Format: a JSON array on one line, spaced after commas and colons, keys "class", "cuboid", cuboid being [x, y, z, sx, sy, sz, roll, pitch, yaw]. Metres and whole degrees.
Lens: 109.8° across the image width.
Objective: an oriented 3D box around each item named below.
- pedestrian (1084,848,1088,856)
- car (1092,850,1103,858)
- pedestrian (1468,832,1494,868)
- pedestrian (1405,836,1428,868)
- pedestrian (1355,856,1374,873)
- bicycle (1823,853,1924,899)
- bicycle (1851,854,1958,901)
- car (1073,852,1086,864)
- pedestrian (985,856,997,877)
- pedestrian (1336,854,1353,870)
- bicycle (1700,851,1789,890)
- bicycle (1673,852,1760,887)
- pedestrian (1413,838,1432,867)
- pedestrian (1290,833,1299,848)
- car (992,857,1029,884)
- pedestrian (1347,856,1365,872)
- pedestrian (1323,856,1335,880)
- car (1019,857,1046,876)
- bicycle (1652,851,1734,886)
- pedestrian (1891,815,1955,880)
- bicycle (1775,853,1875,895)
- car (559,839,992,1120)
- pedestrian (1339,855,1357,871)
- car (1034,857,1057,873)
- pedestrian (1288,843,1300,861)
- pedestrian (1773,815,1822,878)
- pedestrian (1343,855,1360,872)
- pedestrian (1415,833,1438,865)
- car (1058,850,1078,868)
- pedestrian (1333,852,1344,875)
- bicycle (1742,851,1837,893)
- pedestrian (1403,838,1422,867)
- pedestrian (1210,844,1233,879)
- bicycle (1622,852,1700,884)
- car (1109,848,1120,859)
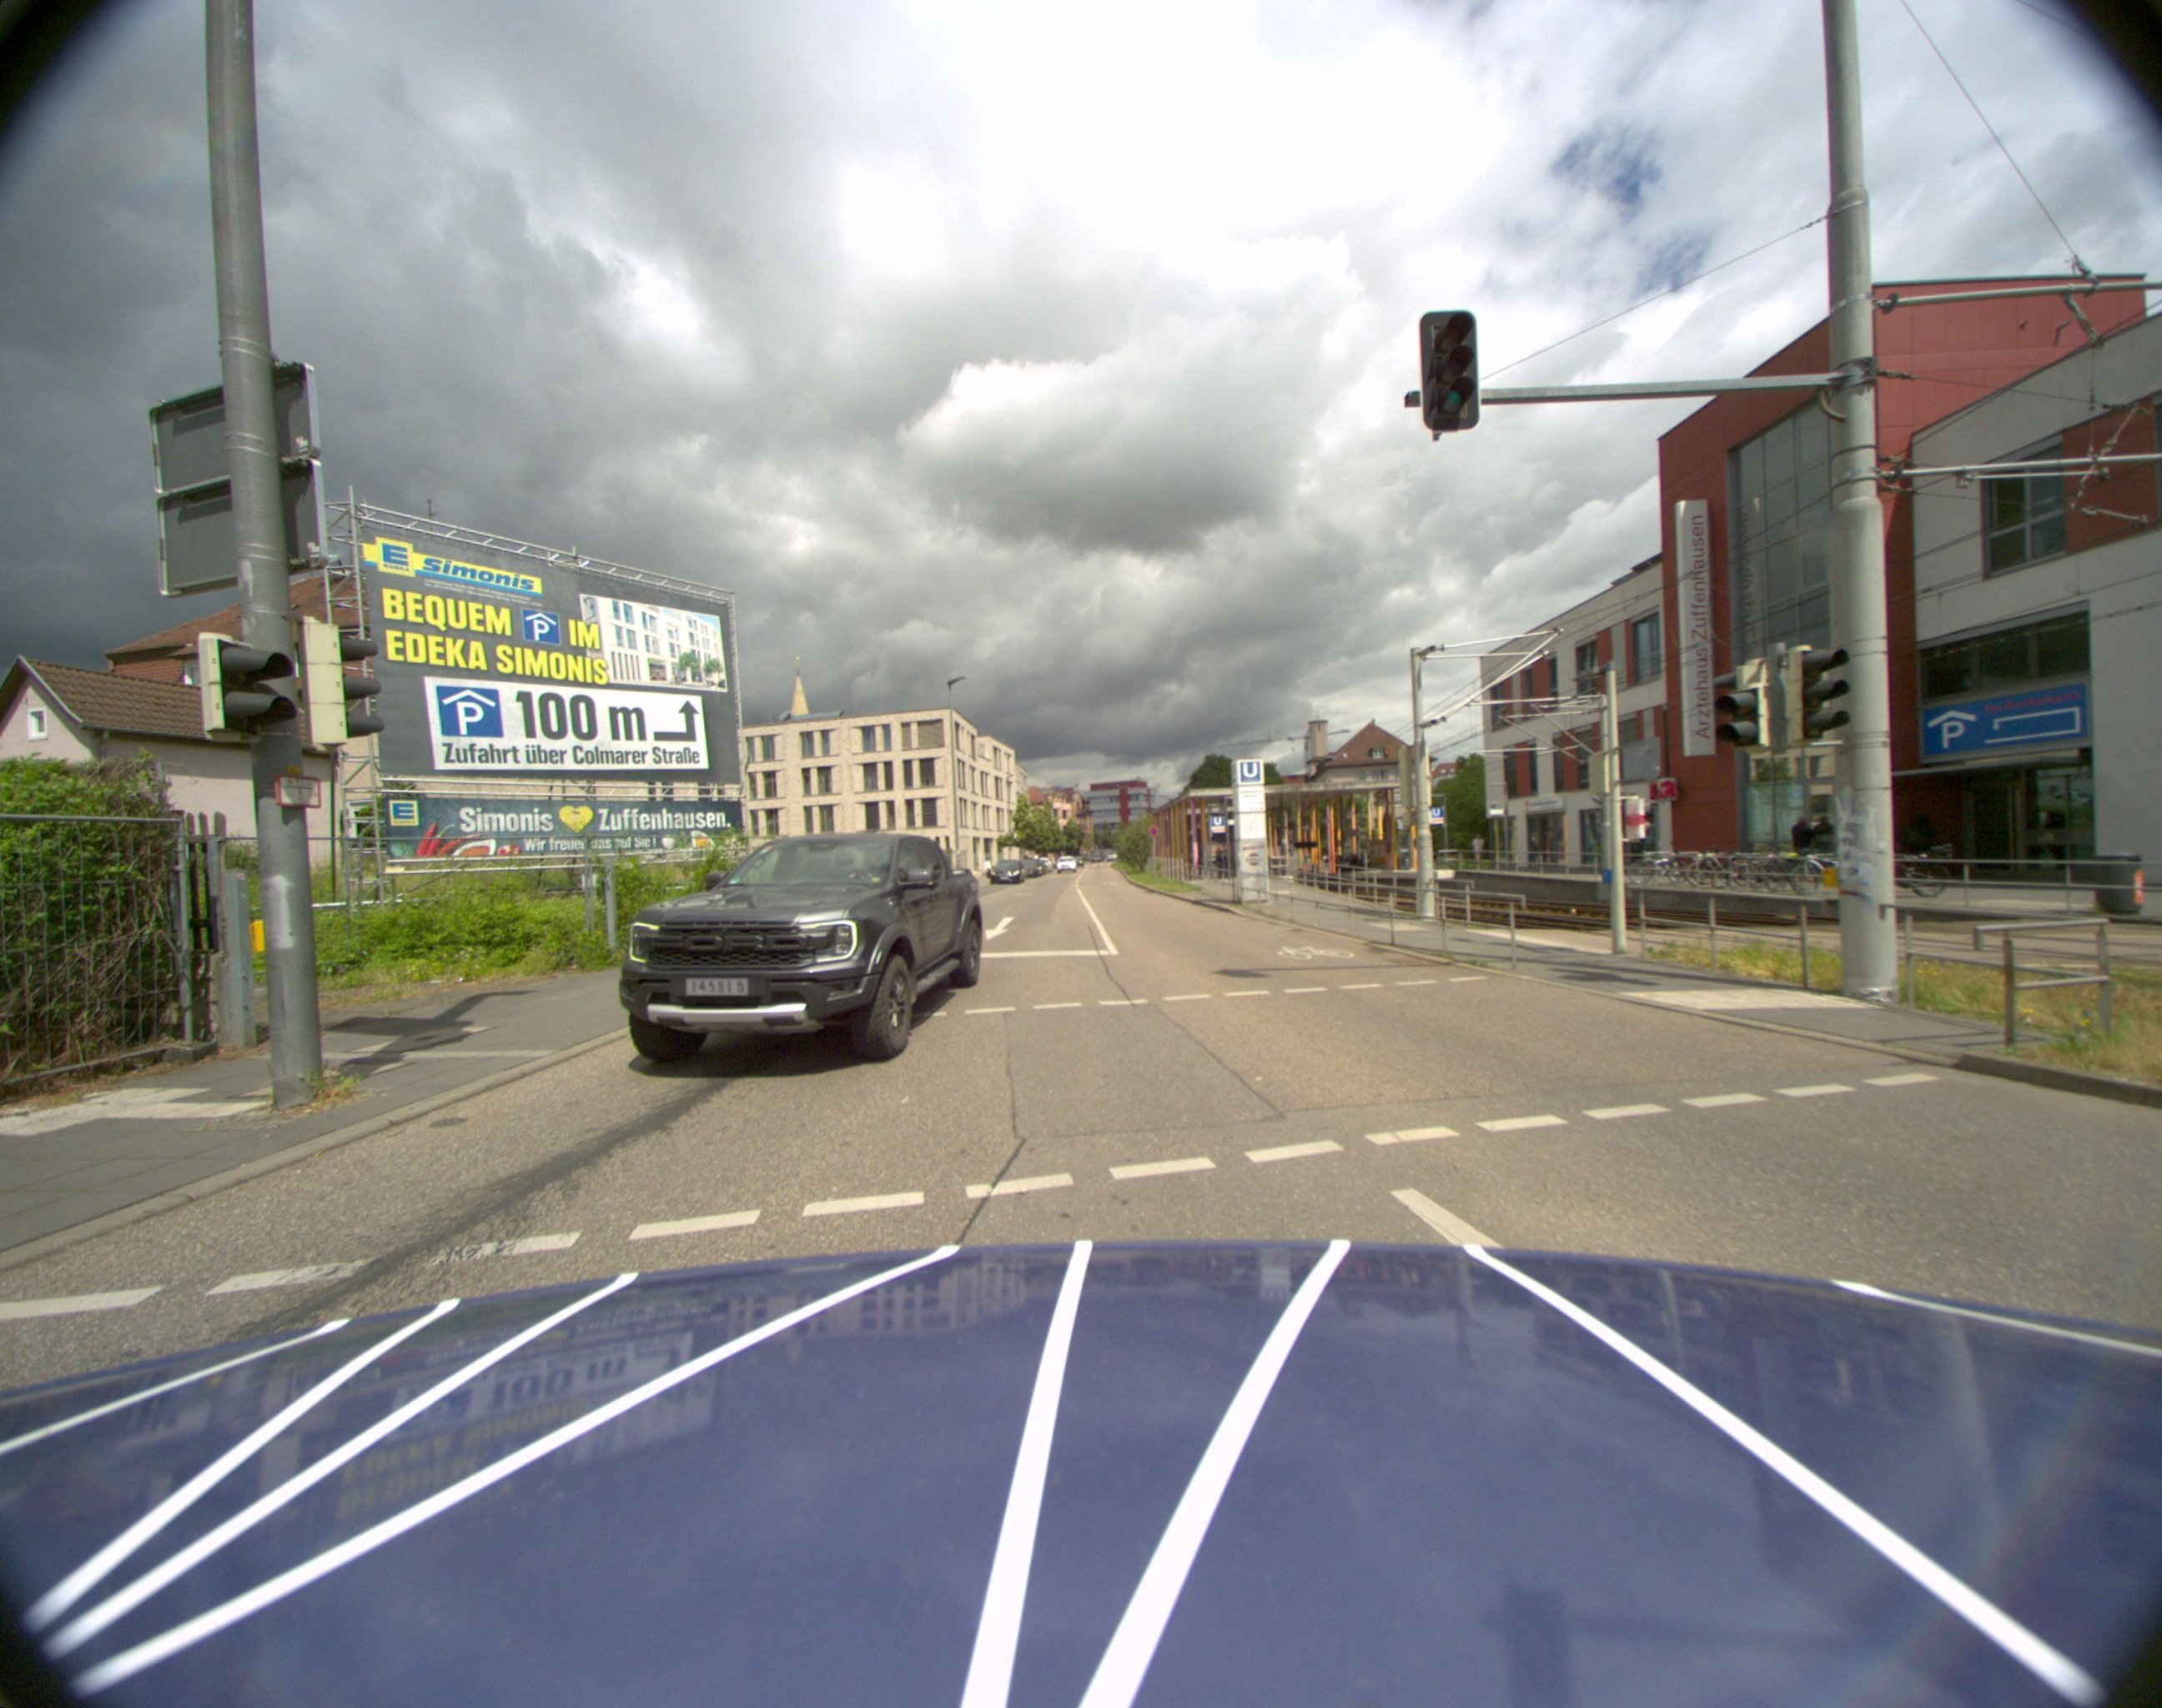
[{"class": "pedestrian", "cuboid": [0.958, -0.376, 143.808, 0.673, 1.503, 0.783, -2, 0, 3]}, {"class": "car", "cuboid": [2.652, 0.016, 122.432, 1.677, 1.299, 3.794, -1, 1, 3]}, {"class": "pedestrian", "cuboid": [22.203, -0.240, 42.203, 0.864, 1.957, 1.106, -1, 2, 3]}, {"class": "pedestrian", "cuboid": [20.559, -0.124, 46.580, 0.864, 1.957, 1.105, -1, 2, -1]}, {"class": "pedestrian", "cuboid": [19.259, 0.705, 51.684, 0.943, 1.128, 0.886, -2, 0, 2]}, {"class": "bicycle", "cuboid": [17.708, 0.493, 16.999, 1.739, 0.952, 0.428, -2, 1, 3]}, {"class": "bicycle", "cuboid": [17.720, 0.507, 16.366, 1.739, 0.947, 0.428, -2, 1, 3]}, {"class": "car", "cuboid": [-0.193, 0.497, 99.715, 1.678, 1.425, 3.794, -2, 1, 0]}, {"class": "pedestrian", "cuboid": [-6.397, 0.887, 54.170, 0.673, 1.503, 0.782, -2, 0, 1]}, {"class": "pedestrian", "cuboid": [19.293, 0.611, 55.590, 0.943, 1.128, 0.886, -2, 0, 2]}, {"class": "bicycle", "cuboid": [17.545, 0.433, 20.122, 1.861, 0.934, 0.454, -2, 1, 5]}, {"class": "bicycle", "cuboid": [17.562, 0.427, 21.023, 1.861, 0.917, 0.455, -2, 1, 8]}, {"class": "pedestrian", "cuboid": [23.480, -0.142, 52.303, 0.863, 1.957, 1.106, -1, 2, 6]}, {"class": "pedestrian", "cuboid": [30.165, -1.919, 107.539, 1.125, 2.002, 1.661, -1, 0, 13]}, {"class": "car", "cuboid": [-4.222, 0.967, 45.936, 1.677, 1.415, 3.794, -1, 1, 3]}, {"class": "pedestrian", "cuboid": [19.064, 0.691, 52.640, 0.943, 1.128, 0.886, -2, 0, 2]}, {"class": "pedestrian", "cuboid": [21.490, 1.217, 65.836, 0.617, 2.002, 0.775, -1, 0, -6]}, {"class": "car", "cuboid": [-3.810, 0.988, 59.956, 1.677, 1.367, 3.795, -2, 0, 3]}, {"class": "bicycle", "cuboid": [17.587, 0.412, 21.852, 1.861, 0.927, 0.455, -2, 1, 9]}, {"class": "pedestrian", "cuboid": [22.621, -0.172, 20.433, 0.933, 1.688, 0.790, 0, 2, 29]}, {"class": "bicycle", "cuboid": [17.641, 0.473, 18.039, 1.862, 0.930, 0.454, -2, 1, 3]}, {"class": "car", "cuboid": [-2.358, 0.807, 7.665, 2.004, 1.876, 5.150, -1, 1, 3]}, {"class": "pedestrian", "cuboid": [19.175, 0.653, 54.588, 0.943, 1.128, 0.886, -2, 0, 2]}, {"class": "car", "cuboid": [-3.122, 0.989, 67.850, 1.677, 1.299, 3.794, -1, 1, 3]}, {"class": "pedestrian", "cuboid": [24.383, -0.199, 87.065, 1.127, 2.002, 1.179, -1, 0, 6]}, {"class": "pedestrian", "cuboid": [22.006, -0.235, 23.341, 0.881, 1.835, 0.862, -4, 3, -27]}, {"class": "pedestrian", "cuboid": [19.079, 0.673, 53.598, 0.943, 1.128, 0.886, -2, 0, 2]}, {"class": "pedestrian", "cuboid": [21.154, -0.301, 46.531, 0.864, 1.957, 1.105, -1, 2, -1]}, {"class": "car", "cuboid": [-1.183, 0.450, 71.494, 1.719, 1.541, 3.793, -1, 0, 1]}, {"class": "pedestrian", "cuboid": [22.270, 0.814, 65.737, 0.623, 2.002, 0.763, -1, 0, -6]}, {"class": "bicycle", "cuboid": [17.679, 0.442, 18.971, 1.862, 0.957, 0.454, -2, 1, 3]}, {"class": "pedestrian", "cuboid": [22.849, -0.124, 52.413, 0.863, 1.957, 1.106, -1, 2, 6]}, {"class": "pedestrian", "cuboid": [7.696, 0.400, 41.643, 1.105, 1.903, 0.864, -1, 2, 2]}, {"class": "bicycle", "cuboid": [17.528, 0.426, 22.980, 1.861, 0.876, 0.455, -2, 1, 9]}, {"class": "car", "cuboid": [5.302, -0.115, 120.162, 1.588, 1.528, 3.946, -5, 1, 1]}]
